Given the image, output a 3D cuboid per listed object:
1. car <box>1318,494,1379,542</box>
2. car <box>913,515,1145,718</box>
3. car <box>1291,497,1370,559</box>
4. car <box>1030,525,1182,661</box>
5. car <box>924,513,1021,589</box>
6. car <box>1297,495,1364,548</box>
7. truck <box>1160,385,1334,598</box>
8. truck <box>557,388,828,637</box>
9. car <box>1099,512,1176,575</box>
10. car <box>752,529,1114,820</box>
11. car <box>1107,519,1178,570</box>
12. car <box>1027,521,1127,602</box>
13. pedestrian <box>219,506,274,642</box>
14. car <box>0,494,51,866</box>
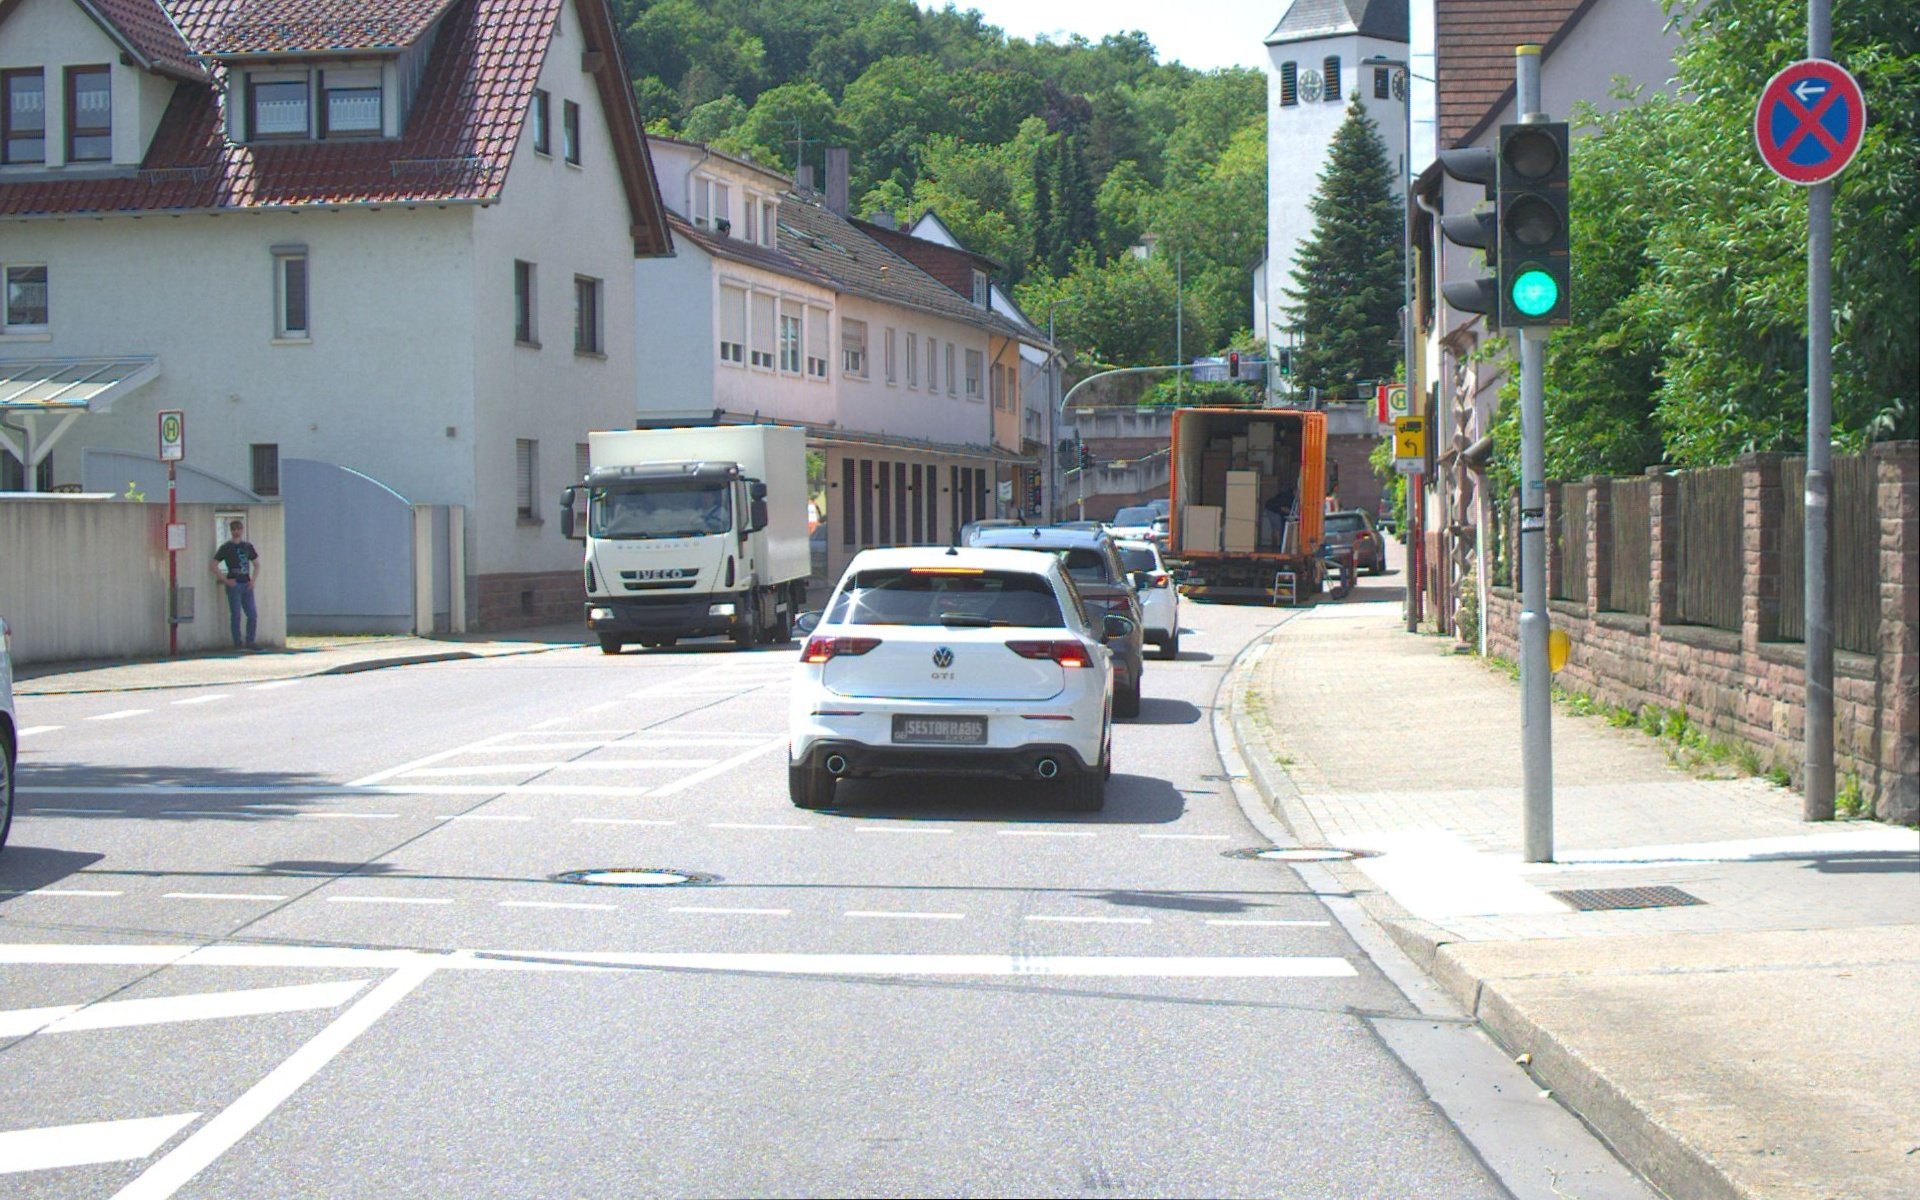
[{"bbox_3d":[13.016,-2.724,115.299,1.815,1.514,4.000,-1,1,4],"label":"car"},{"bbox_3d":[0.675,0.117,30.264,1.815,1.623,4.000,-1,1,4],"label":"car"},{"bbox_3d":[9.473,-1.827,88.195,1.815,1.514,4.000,-1,1,4],"label":"car"},{"bbox_3d":[1.910,-0.109,43.980,1.815,1.623,4.000,-1,1,4],"label":"car"},{"bbox_3d":[0.305,-1.102,76.813,1.739,1.645,3.667,0,1,7],"label":"car"},{"bbox_3d":[11.106,-2.338,103.278,1.815,1.514,4.000,-1,1,4],"label":"car"},{"bbox_3d":[6.235,-2.220,73.416,3.368,4.156,9.517,-1,1,6],"label":"truck"},{"bbox_3d":[-3.651,-1.189,48.360,2.502,3.224,6.038,-1,0,8],"label":"truck"},{"bbox_3d":[4.458,-1.402,85.935,1.815,1.514,4.000,-1,1,4],"label":"car"},{"bbox_3d":[-0.056,0.370,20.191,1.815,1.514,4.000,1,1,4],"label":"car"},{"bbox_3d":[5.710,-1.732,107.158,1.796,1.503,4.132,-1,1,8],"label":"car"},{"bbox_3d":[2.348,-0.765,68.350,1.815,1.514,4.000,-1,1,4],"label":"car"},{"bbox_3d":[-9.265,-0.341,44.654,0.434,1.758,0.556,0,1,23],"label":"pedestrian"},{"bbox_3d":[-5.223,0.356,13.854,1.815,1.644,4.000,1,1,4],"label":"car"}]
